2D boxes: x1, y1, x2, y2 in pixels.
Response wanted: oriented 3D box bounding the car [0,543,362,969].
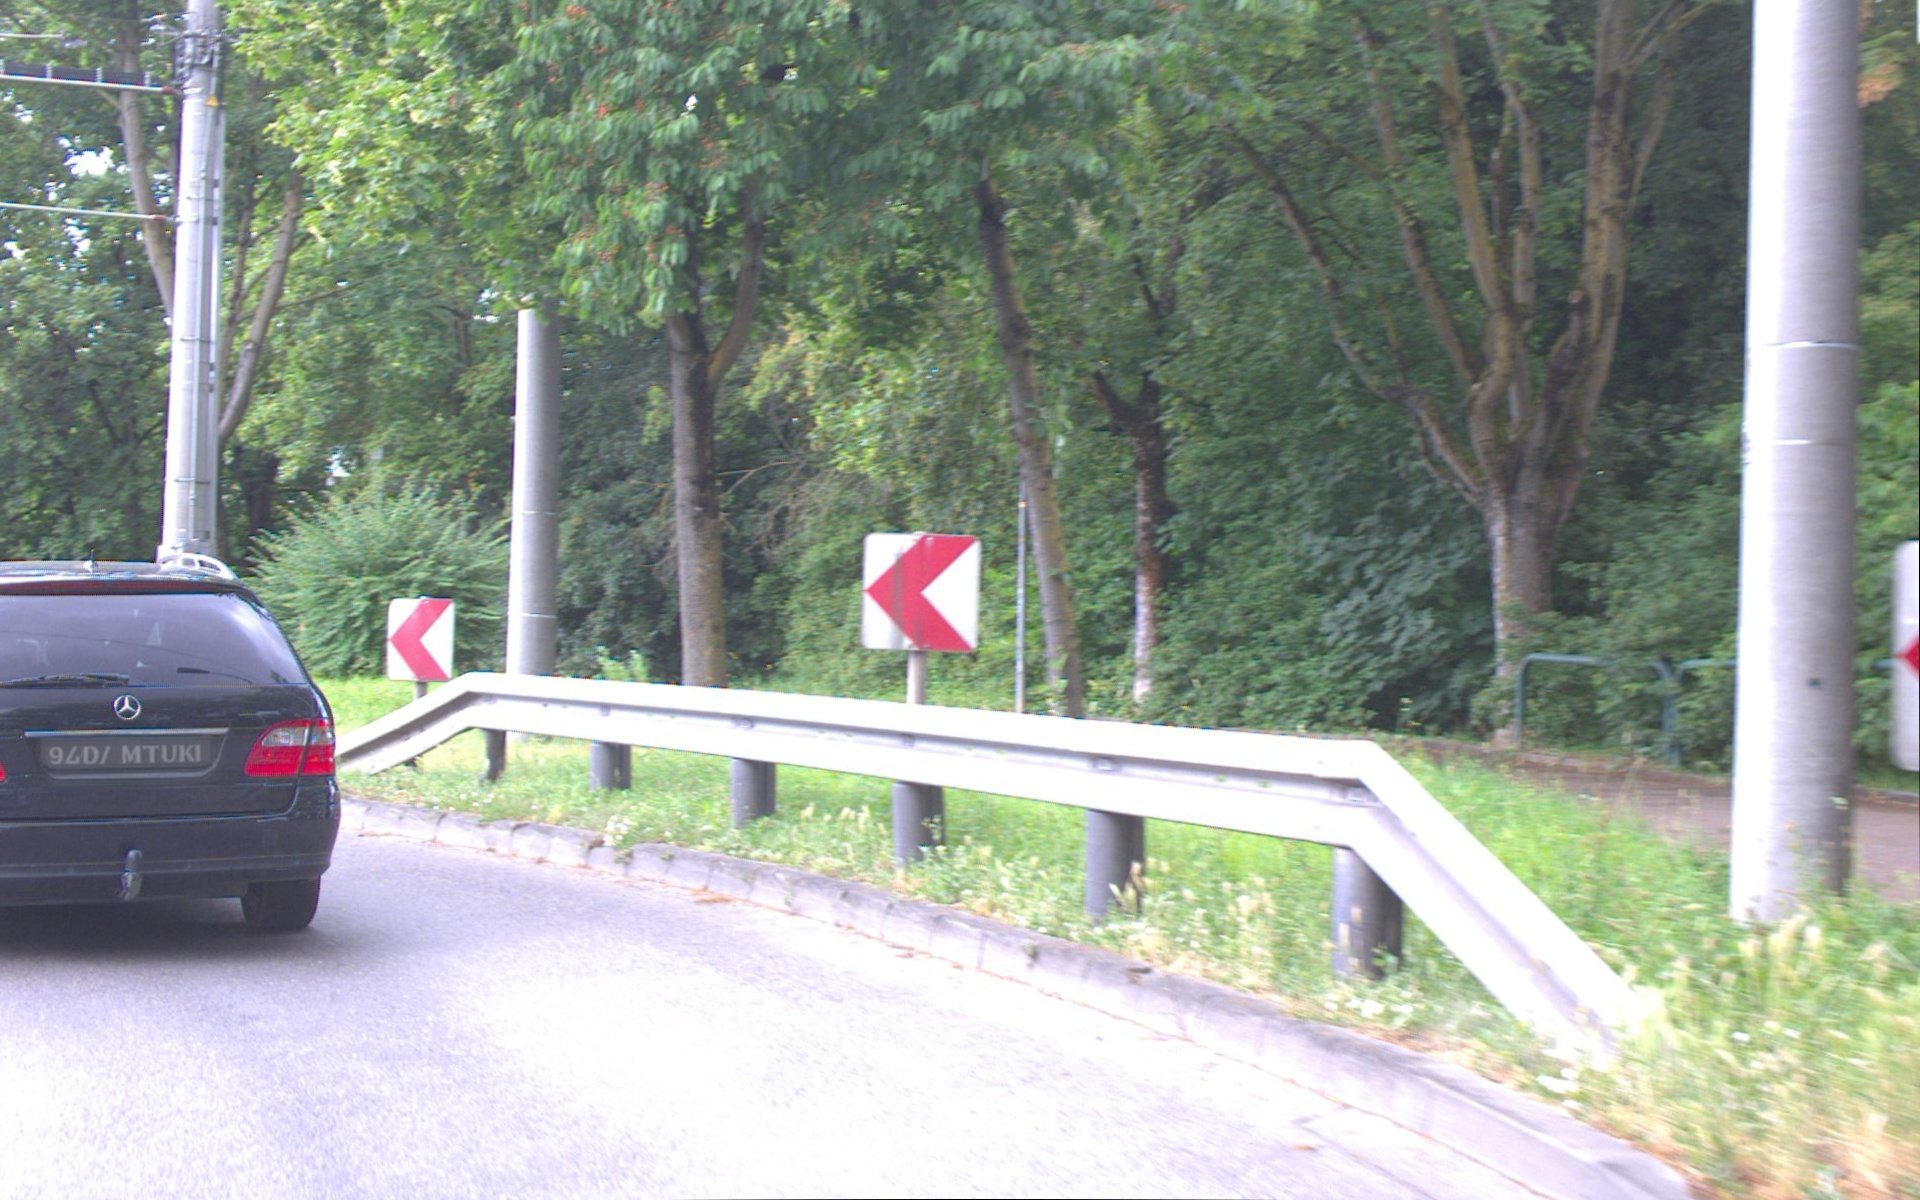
[{"bbox_3d":[-3.873,0.528,14.368,1.758,1.510,4.443,0,1,-23],"label":"car"}]
